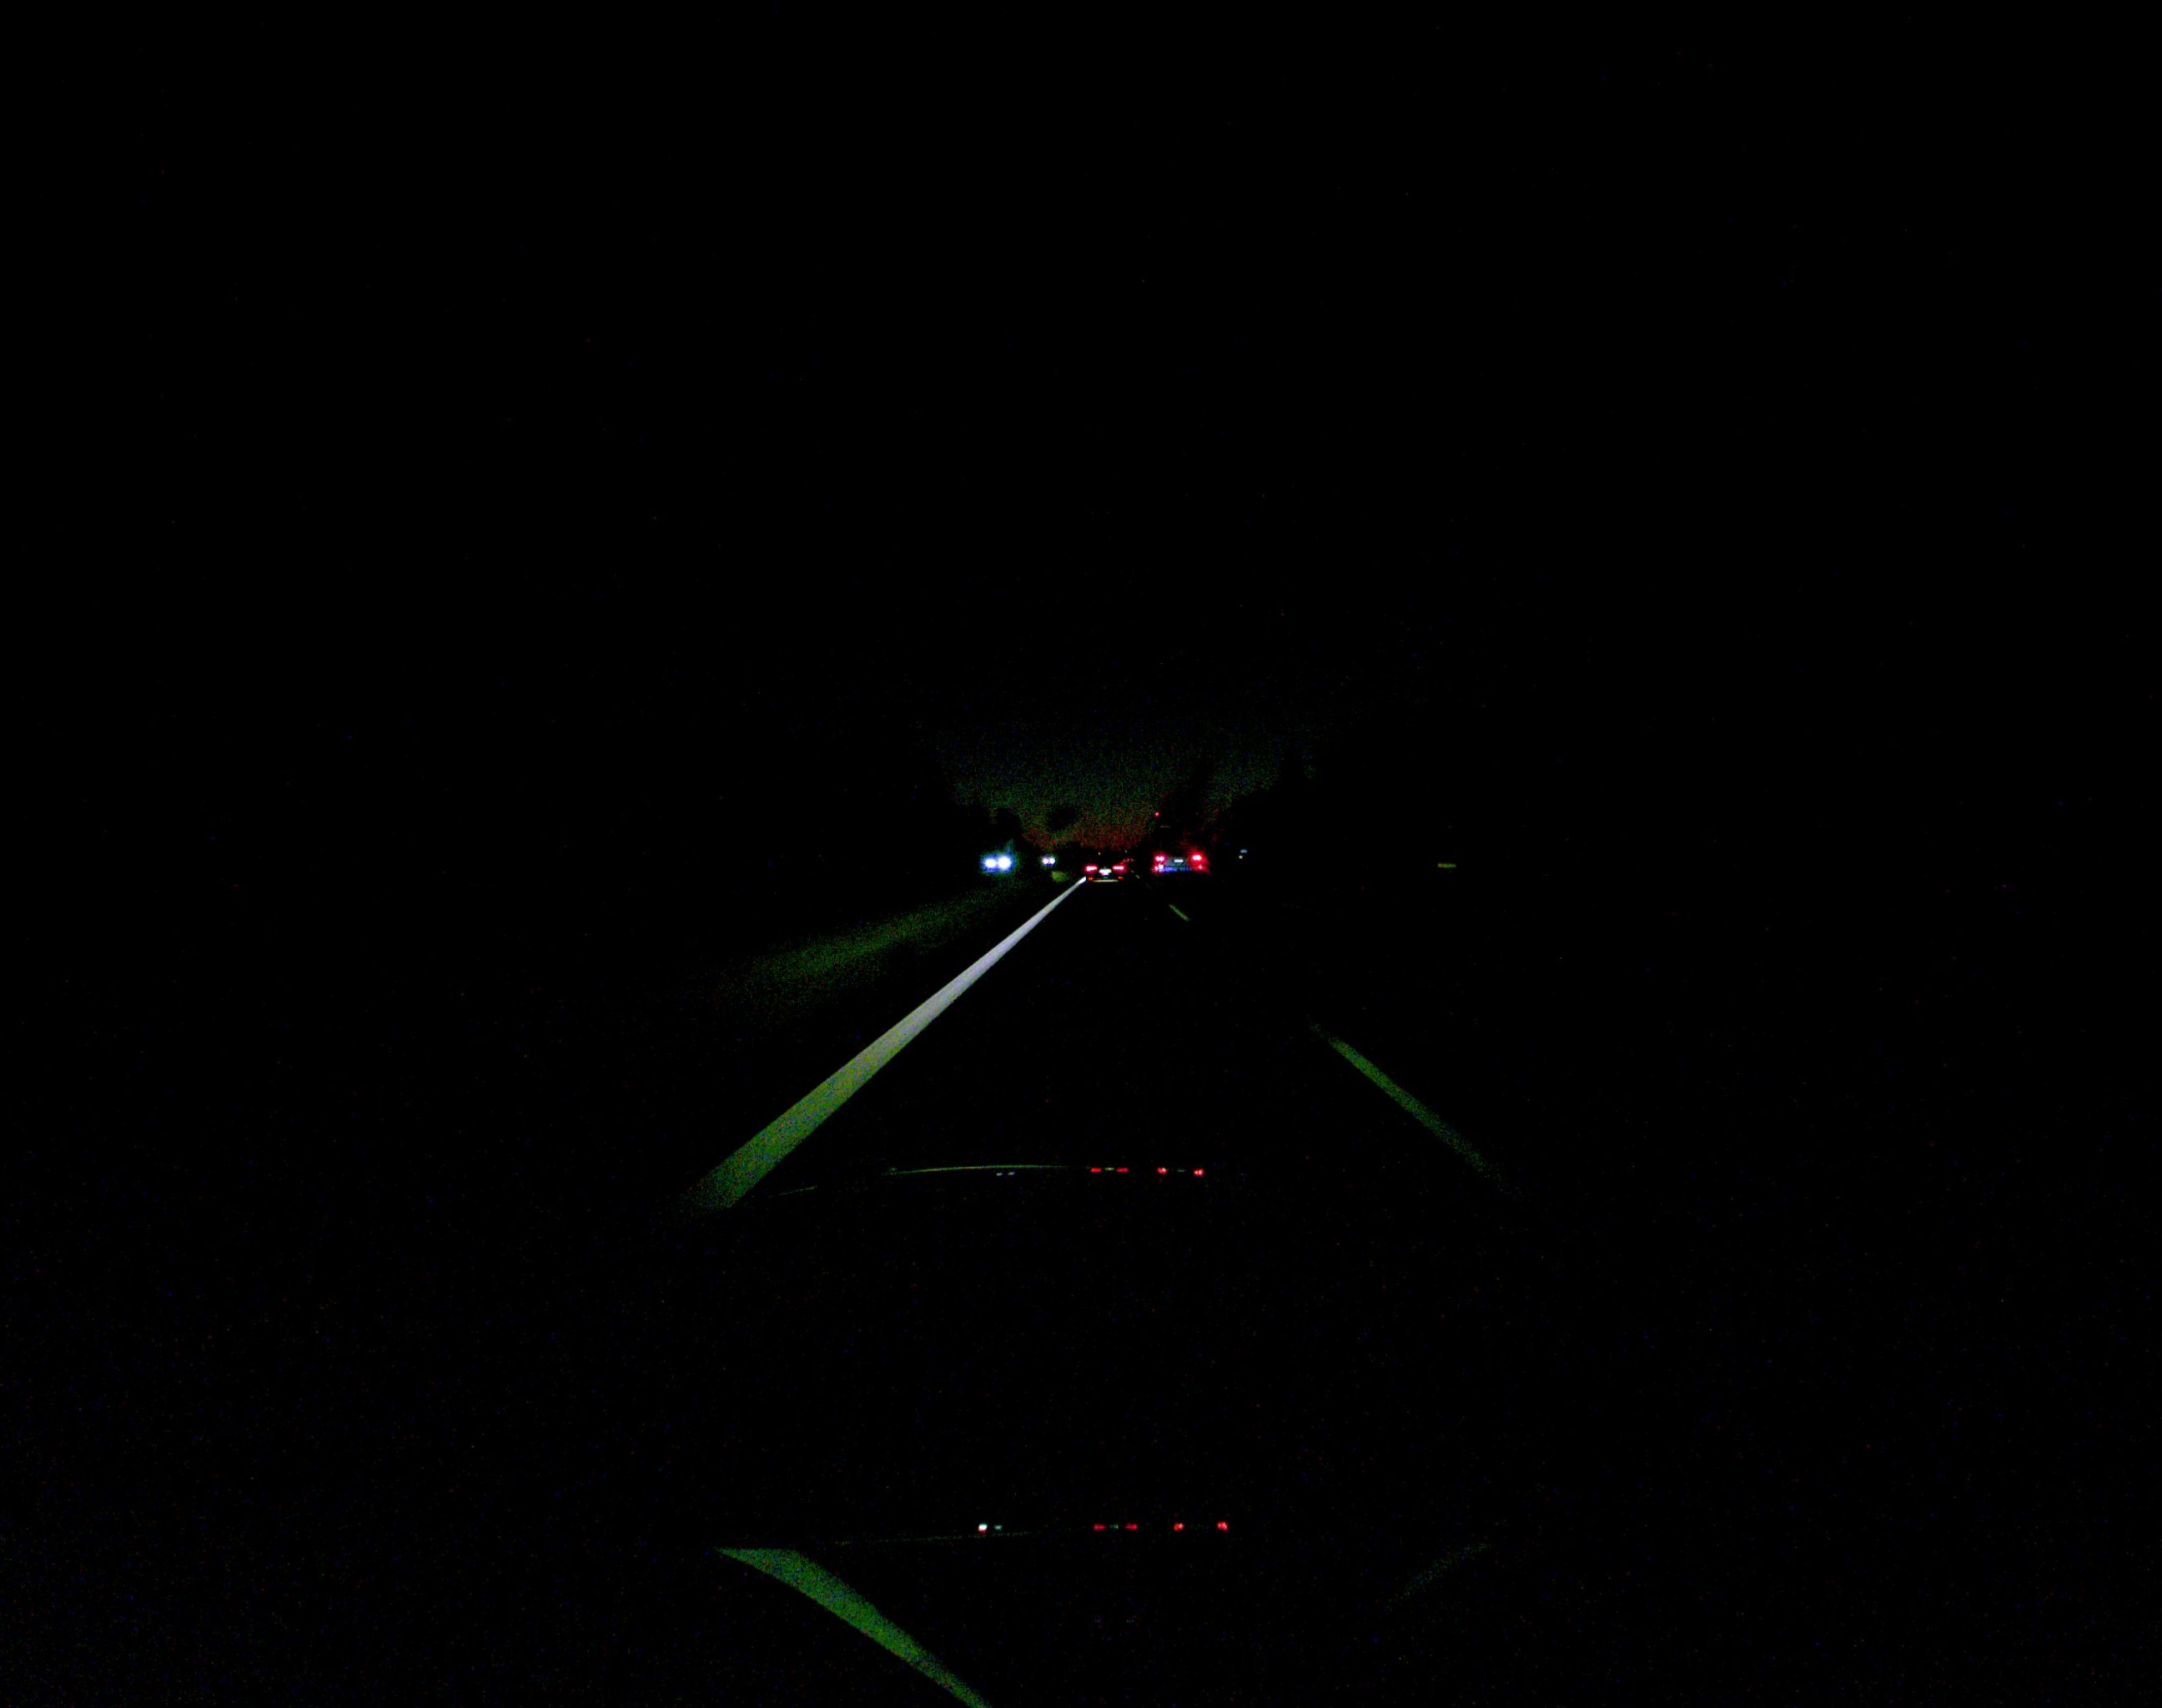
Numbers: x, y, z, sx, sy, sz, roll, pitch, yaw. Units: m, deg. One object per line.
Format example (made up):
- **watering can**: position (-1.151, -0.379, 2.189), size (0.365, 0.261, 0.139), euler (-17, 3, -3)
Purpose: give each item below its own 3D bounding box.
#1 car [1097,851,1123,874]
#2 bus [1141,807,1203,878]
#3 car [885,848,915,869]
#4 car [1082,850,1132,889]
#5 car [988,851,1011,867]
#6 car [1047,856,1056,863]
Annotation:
- **car**: position (2.296, 0.714, 65.631), size (1.905, 1.730, 4.000), euler (-3, -1, 1)
- **bus**: position (5.782, -0.556, 54.173), size (2.643, 3.994, 14.704), euler (-2, -1, 1)
- **car**: position (-17.944, 0.440, 80.931), size (1.987, 1.926, 4.000), euler (-3, -1, 1)
- **car**: position (1.141, 0.702, 37.485), size (2.099, 1.618, 4.204), euler (-2, -1, 0)
- **car**: position (-8.606, 0.501, 86.327), size (1.926, 1.561, 4.454), euler (0, 0, 1)
- **car**: position (-6.937, 1.272, 192.476), size (1.985, 1.776, 5.171), euler (0, 0, 1)
